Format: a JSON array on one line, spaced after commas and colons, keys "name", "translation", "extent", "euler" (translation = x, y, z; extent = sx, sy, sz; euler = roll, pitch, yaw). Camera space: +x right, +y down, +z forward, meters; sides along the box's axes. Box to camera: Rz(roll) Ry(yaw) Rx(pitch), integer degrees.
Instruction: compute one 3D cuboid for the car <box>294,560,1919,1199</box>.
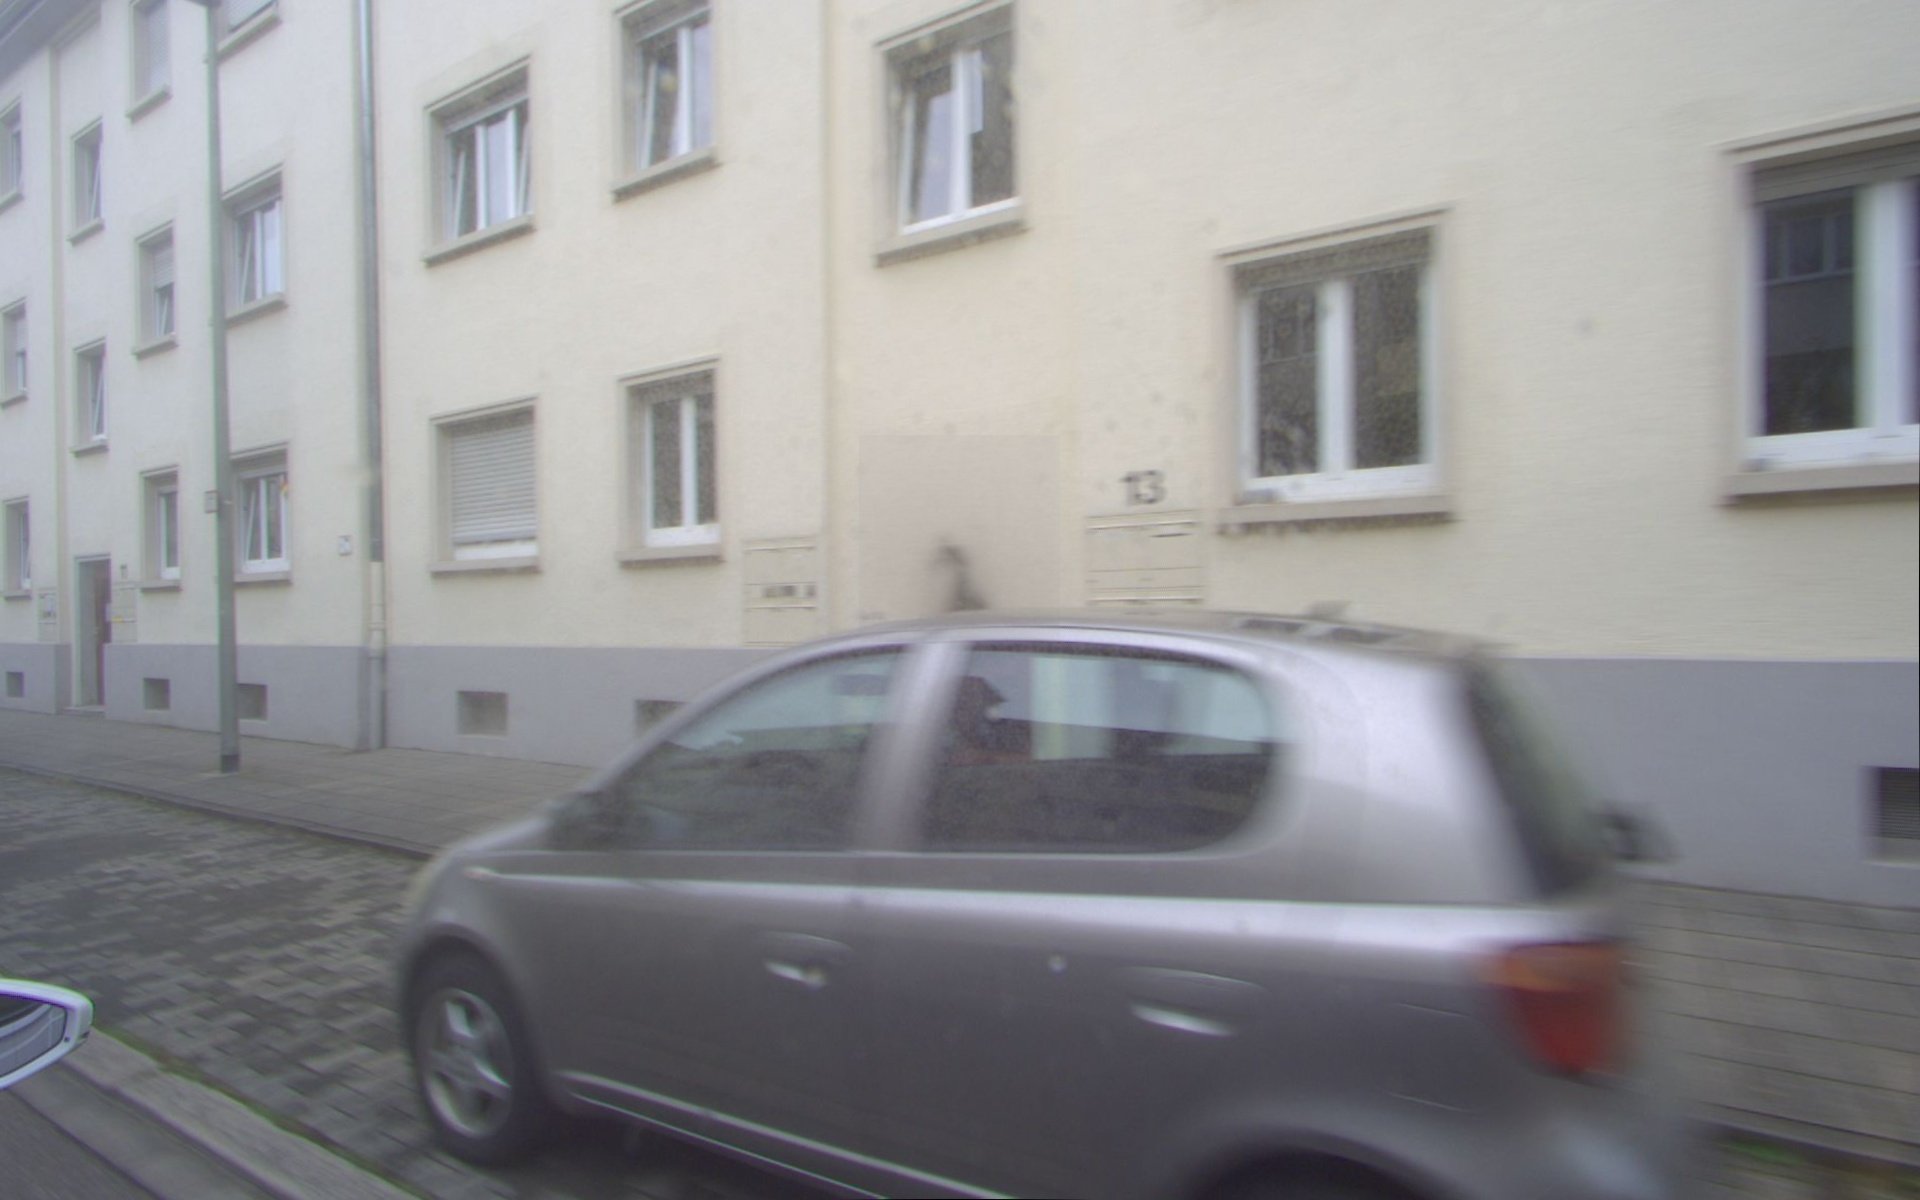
[{"name": "car", "translation": [0.087, 0.750, 2.818], "extent": [4.001, 1.537, 1.722], "euler": [-1, 0, 31]}]
